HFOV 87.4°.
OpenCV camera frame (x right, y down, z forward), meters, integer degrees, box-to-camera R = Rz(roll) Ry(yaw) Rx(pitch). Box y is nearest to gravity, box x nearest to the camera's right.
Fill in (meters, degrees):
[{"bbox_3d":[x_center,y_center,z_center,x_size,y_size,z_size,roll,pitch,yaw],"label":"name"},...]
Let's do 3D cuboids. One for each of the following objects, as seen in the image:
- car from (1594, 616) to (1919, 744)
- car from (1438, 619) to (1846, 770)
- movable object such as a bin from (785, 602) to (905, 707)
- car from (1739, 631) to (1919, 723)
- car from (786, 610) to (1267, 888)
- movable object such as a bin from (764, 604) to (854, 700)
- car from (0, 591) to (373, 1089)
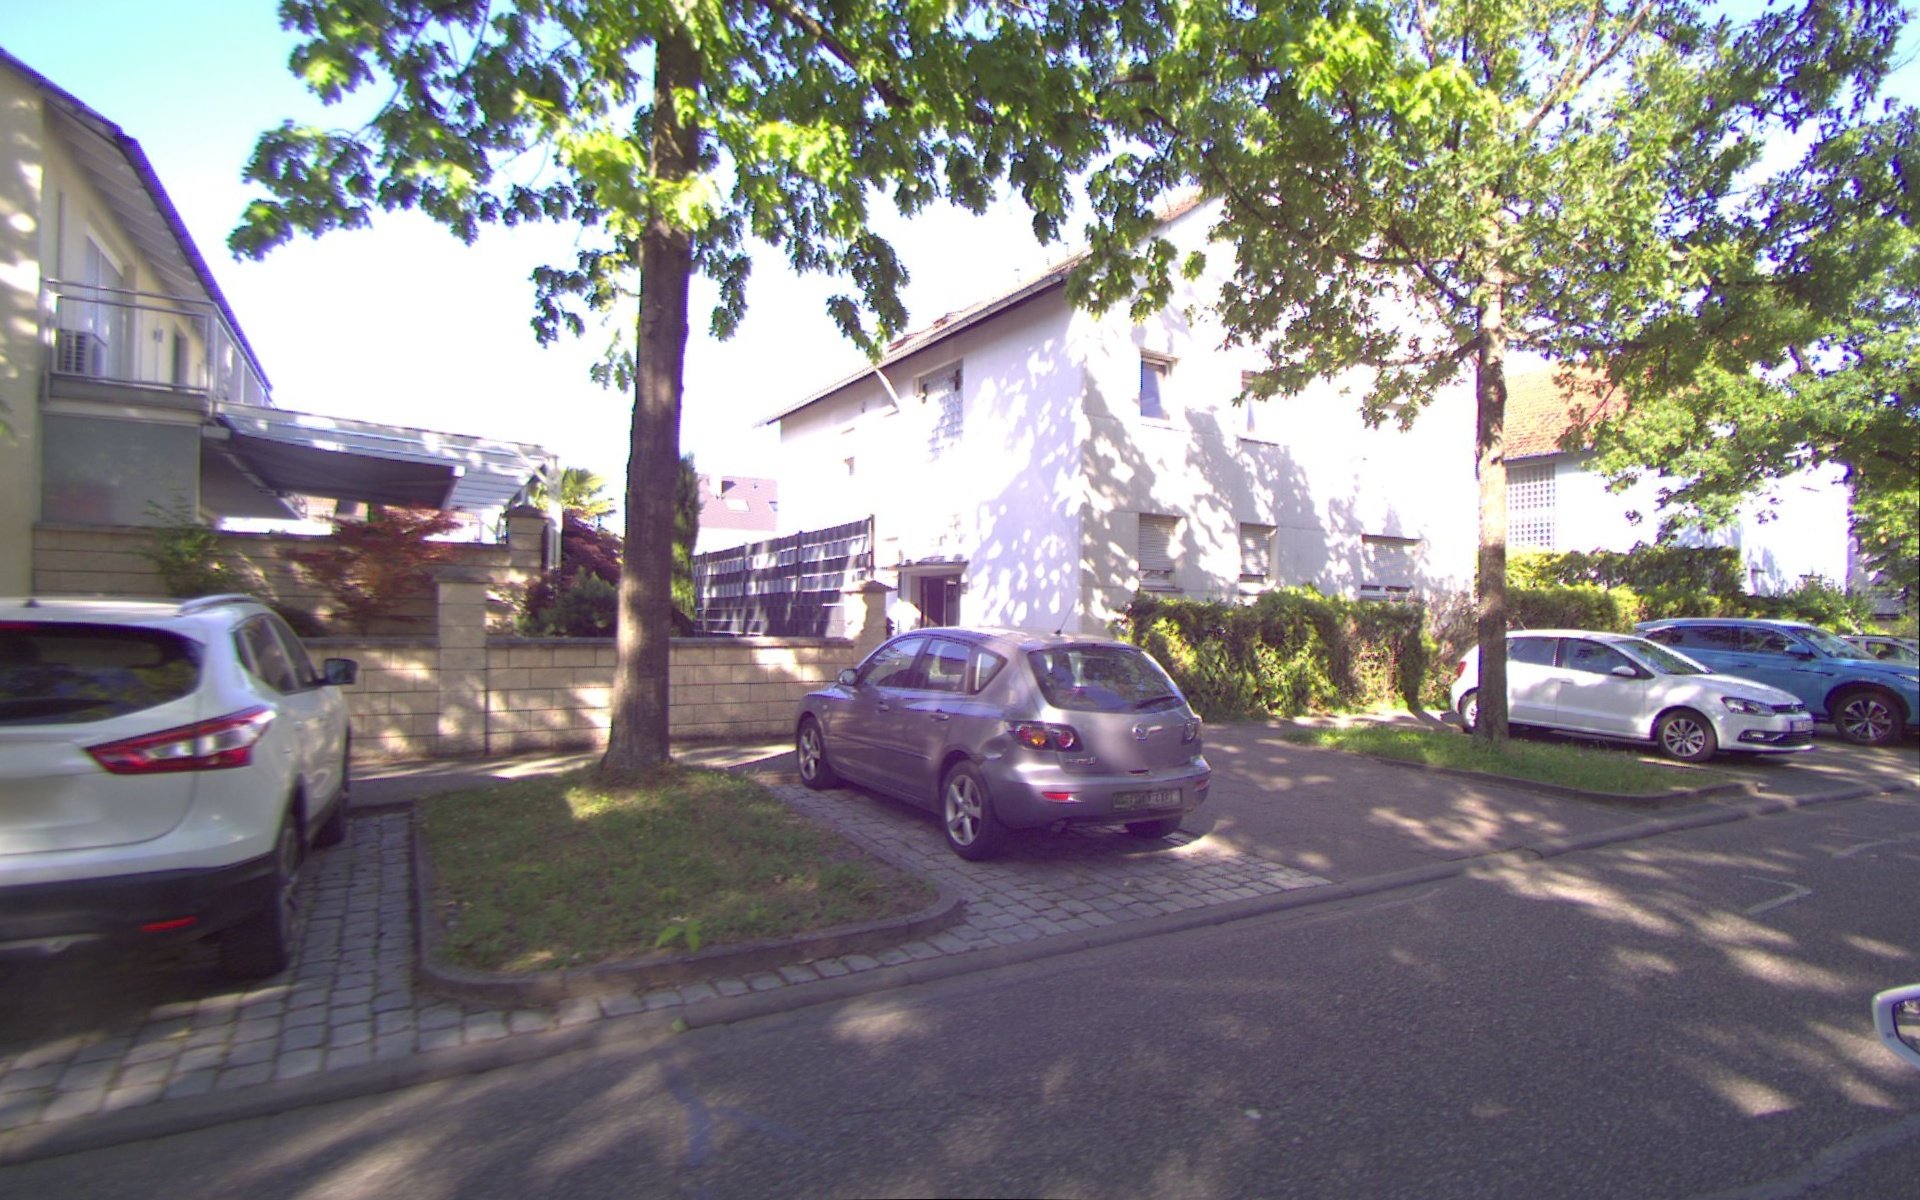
[{"bbox_3d":[12.380,1.087,15.087,1.914,1.652,4.504,1,-2,-29],"label":"car"},{"bbox_3d":[8.520,1.084,12.929,1.835,1.616,3.969,2,-2,-29],"label":"car"},{"bbox_3d":[-1.714,0.788,14.804,1.261,1.453,1.488,2,-2,-30],"label":"movable object such as a bin"},{"bbox_3d":[16.360,1.328,17.482,1.627,1.511,4.164,2,-2,-29],"label":"car"},{"bbox_3d":[0.215,0.877,7.865,1.789,1.442,4.013,1,1,-31],"label":"car"},{"bbox_3d":[-2.385,0.811,15.863,1.111,1.455,0.949,2,-2,-30],"label":"movable object such as a bin"},{"bbox_3d":[-4.133,0.778,5.101,1.769,1.588,4.170,1,0,-28],"label":"car"}]
